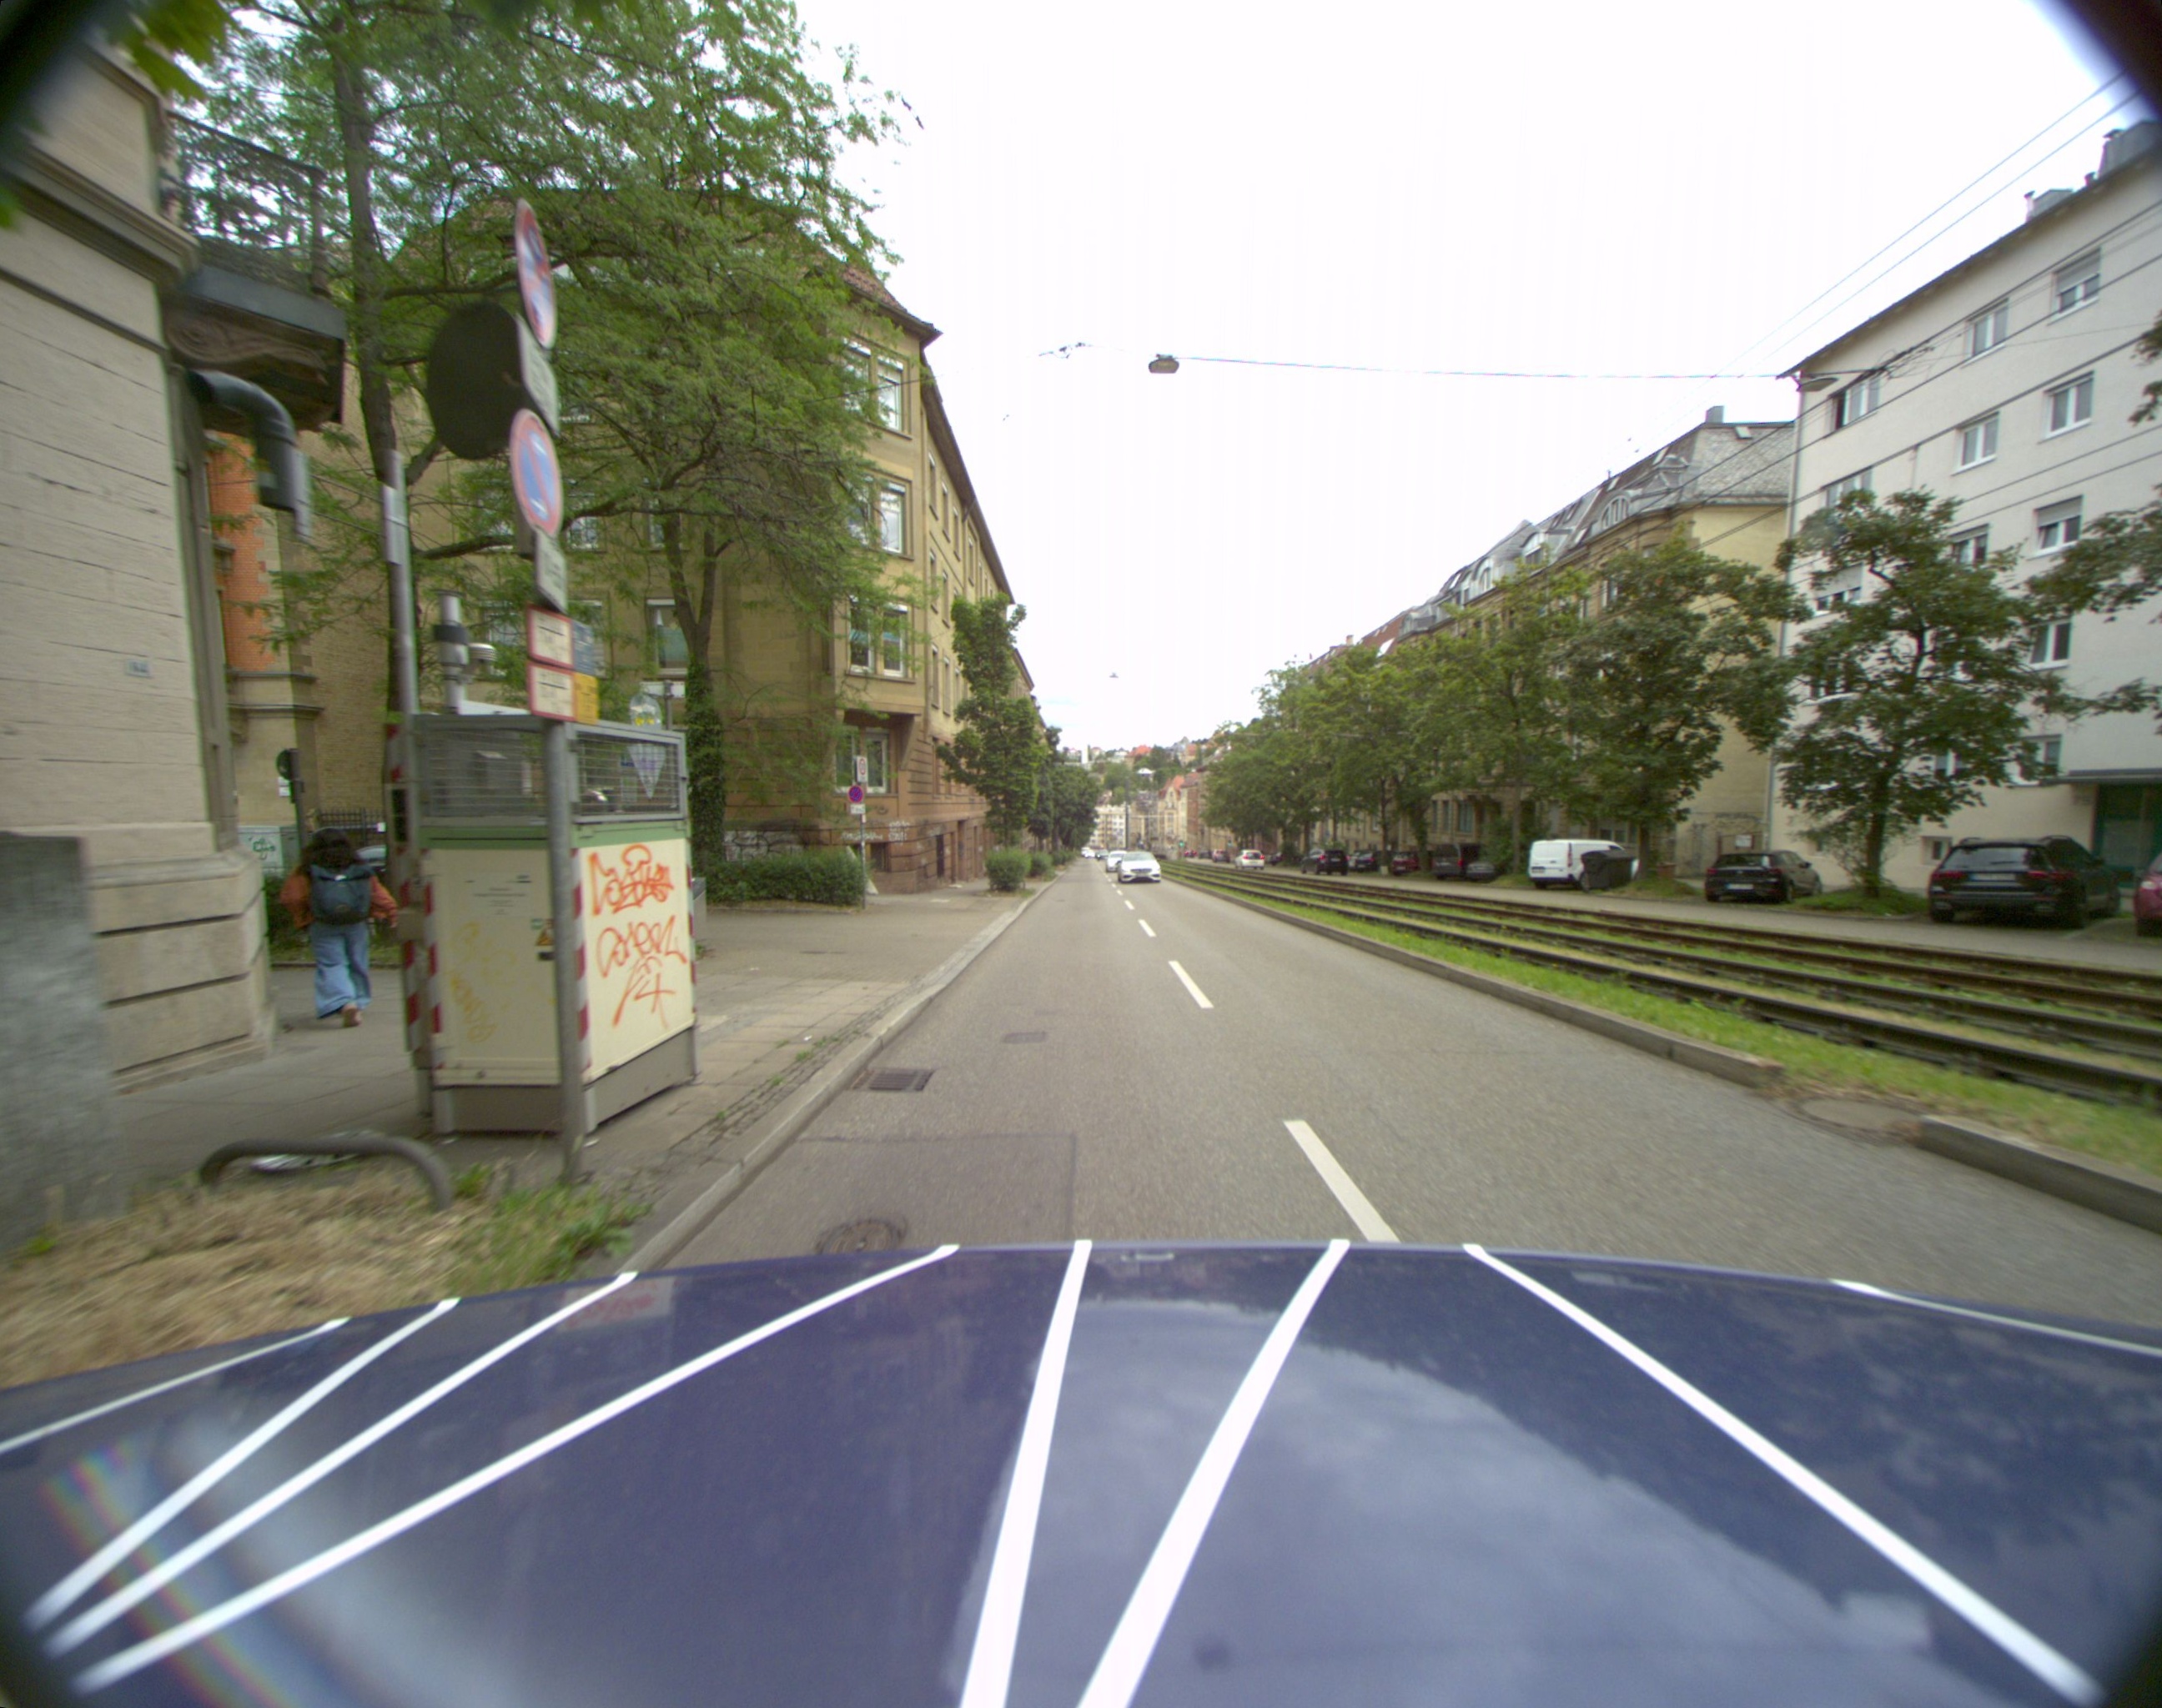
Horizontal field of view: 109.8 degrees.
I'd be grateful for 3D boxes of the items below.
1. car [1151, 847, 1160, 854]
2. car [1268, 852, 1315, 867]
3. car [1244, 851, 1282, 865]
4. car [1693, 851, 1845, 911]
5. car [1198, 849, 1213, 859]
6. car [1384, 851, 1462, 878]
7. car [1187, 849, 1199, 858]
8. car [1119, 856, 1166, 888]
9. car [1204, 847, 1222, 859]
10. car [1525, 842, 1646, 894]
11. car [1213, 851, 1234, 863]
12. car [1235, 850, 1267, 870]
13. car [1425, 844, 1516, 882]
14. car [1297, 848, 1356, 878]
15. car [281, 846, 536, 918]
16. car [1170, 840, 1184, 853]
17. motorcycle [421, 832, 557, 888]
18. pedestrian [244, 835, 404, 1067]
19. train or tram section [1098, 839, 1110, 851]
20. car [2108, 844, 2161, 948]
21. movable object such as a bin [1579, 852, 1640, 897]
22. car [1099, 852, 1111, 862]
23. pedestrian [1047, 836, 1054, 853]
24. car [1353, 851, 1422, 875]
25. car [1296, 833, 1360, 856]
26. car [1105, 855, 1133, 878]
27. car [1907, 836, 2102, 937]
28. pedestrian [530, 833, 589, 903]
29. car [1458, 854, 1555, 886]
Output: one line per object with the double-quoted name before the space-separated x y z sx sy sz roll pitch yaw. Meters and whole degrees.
"car" 18.766 -0.890 191.815 1.884 1.640 4.471 1 0 3
"car" 19.486 0.480 70.281 4.190 1.356 1.708 -1 1 -29
"car" 20.245 0.425 84.309 4.006 1.414 1.782 -1 1 -31
"car" 19.154 0.689 21.107 4.614 1.337 1.931 -2 1 -32
"car" 19.906 -0.018 121.406 1.784 1.647 4.243 1 1 1
"car" 19.336 0.548 42.876 4.198 1.427 1.867 0 1 -29
"car" 20.948 -0.150 142.720 1.884 1.640 4.471 1 0 4
"car" 2.809 0.797 35.439 1.806 1.391 4.000 -1 0 0
"car" 18.091 -0.109 104.075 1.784 1.607 4.346 1 1 1
"car" 18.830 0.485 28.356 4.197 1.826 1.867 0 1 -26
"car" 16.819 0.308 89.962 1.729 1.402 4.597 1 0 1
"car" 12.672 0.453 56.701 1.592 1.427 3.412 1 0 0
"car" 18.919 0.413 36.886 4.198 1.757 1.867 -1 1 -29
"car" 14.473 0.495 45.065 1.922 1.640 4.607 1 0 0
"car" -14.988 0.592 17.110 4.097 1.371 1.811 2 1 -1
"car" 21.583 -1.700 171.806 2.398 2.684 6.518 1 0 1
"motorcycle" -15.836 0.145 20.376 2.926 1.428 0.838 0 4 0
"pedestrian" -5.974 0.694 6.066 0.713 1.653 1.124 -1 0 -36
"train or tram section" 7.122 -2.849 236.581 2.968 3.456 14.407 0 0 -1
"car" 19.525 0.649 13.028 4.614 1.539 1.931 -2 1 -32
"movable object such as a bin" 17.380 0.645 25.013 1.279 1.393 1.095 -2 1 -15
"car" 3.487 0.452 110.784 1.562 1.330 4.000 0 0 1
"pedestrian" -3.428 -1.063 85.631 0.687 1.820 1.121 1 3 1
"car" 19.410 0.552 48.110 4.198 1.427 1.867 0 1 -29
"car" 17.066 -0.634 52.509 4.198 1.564 1.867 -1 1 -30
"car" 2.644 0.881 53.909 1.806 1.542 4.000 -1 0 0
"car" 18.705 0.554 15.341 4.614 1.672 1.931 -2 1 -32
"pedestrian" -13.258 0.335 19.337 0.861 1.678 0.848 2 5 0
"car" 19.118 0.696 34.130 4.198 1.332 1.867 0 1 -29
